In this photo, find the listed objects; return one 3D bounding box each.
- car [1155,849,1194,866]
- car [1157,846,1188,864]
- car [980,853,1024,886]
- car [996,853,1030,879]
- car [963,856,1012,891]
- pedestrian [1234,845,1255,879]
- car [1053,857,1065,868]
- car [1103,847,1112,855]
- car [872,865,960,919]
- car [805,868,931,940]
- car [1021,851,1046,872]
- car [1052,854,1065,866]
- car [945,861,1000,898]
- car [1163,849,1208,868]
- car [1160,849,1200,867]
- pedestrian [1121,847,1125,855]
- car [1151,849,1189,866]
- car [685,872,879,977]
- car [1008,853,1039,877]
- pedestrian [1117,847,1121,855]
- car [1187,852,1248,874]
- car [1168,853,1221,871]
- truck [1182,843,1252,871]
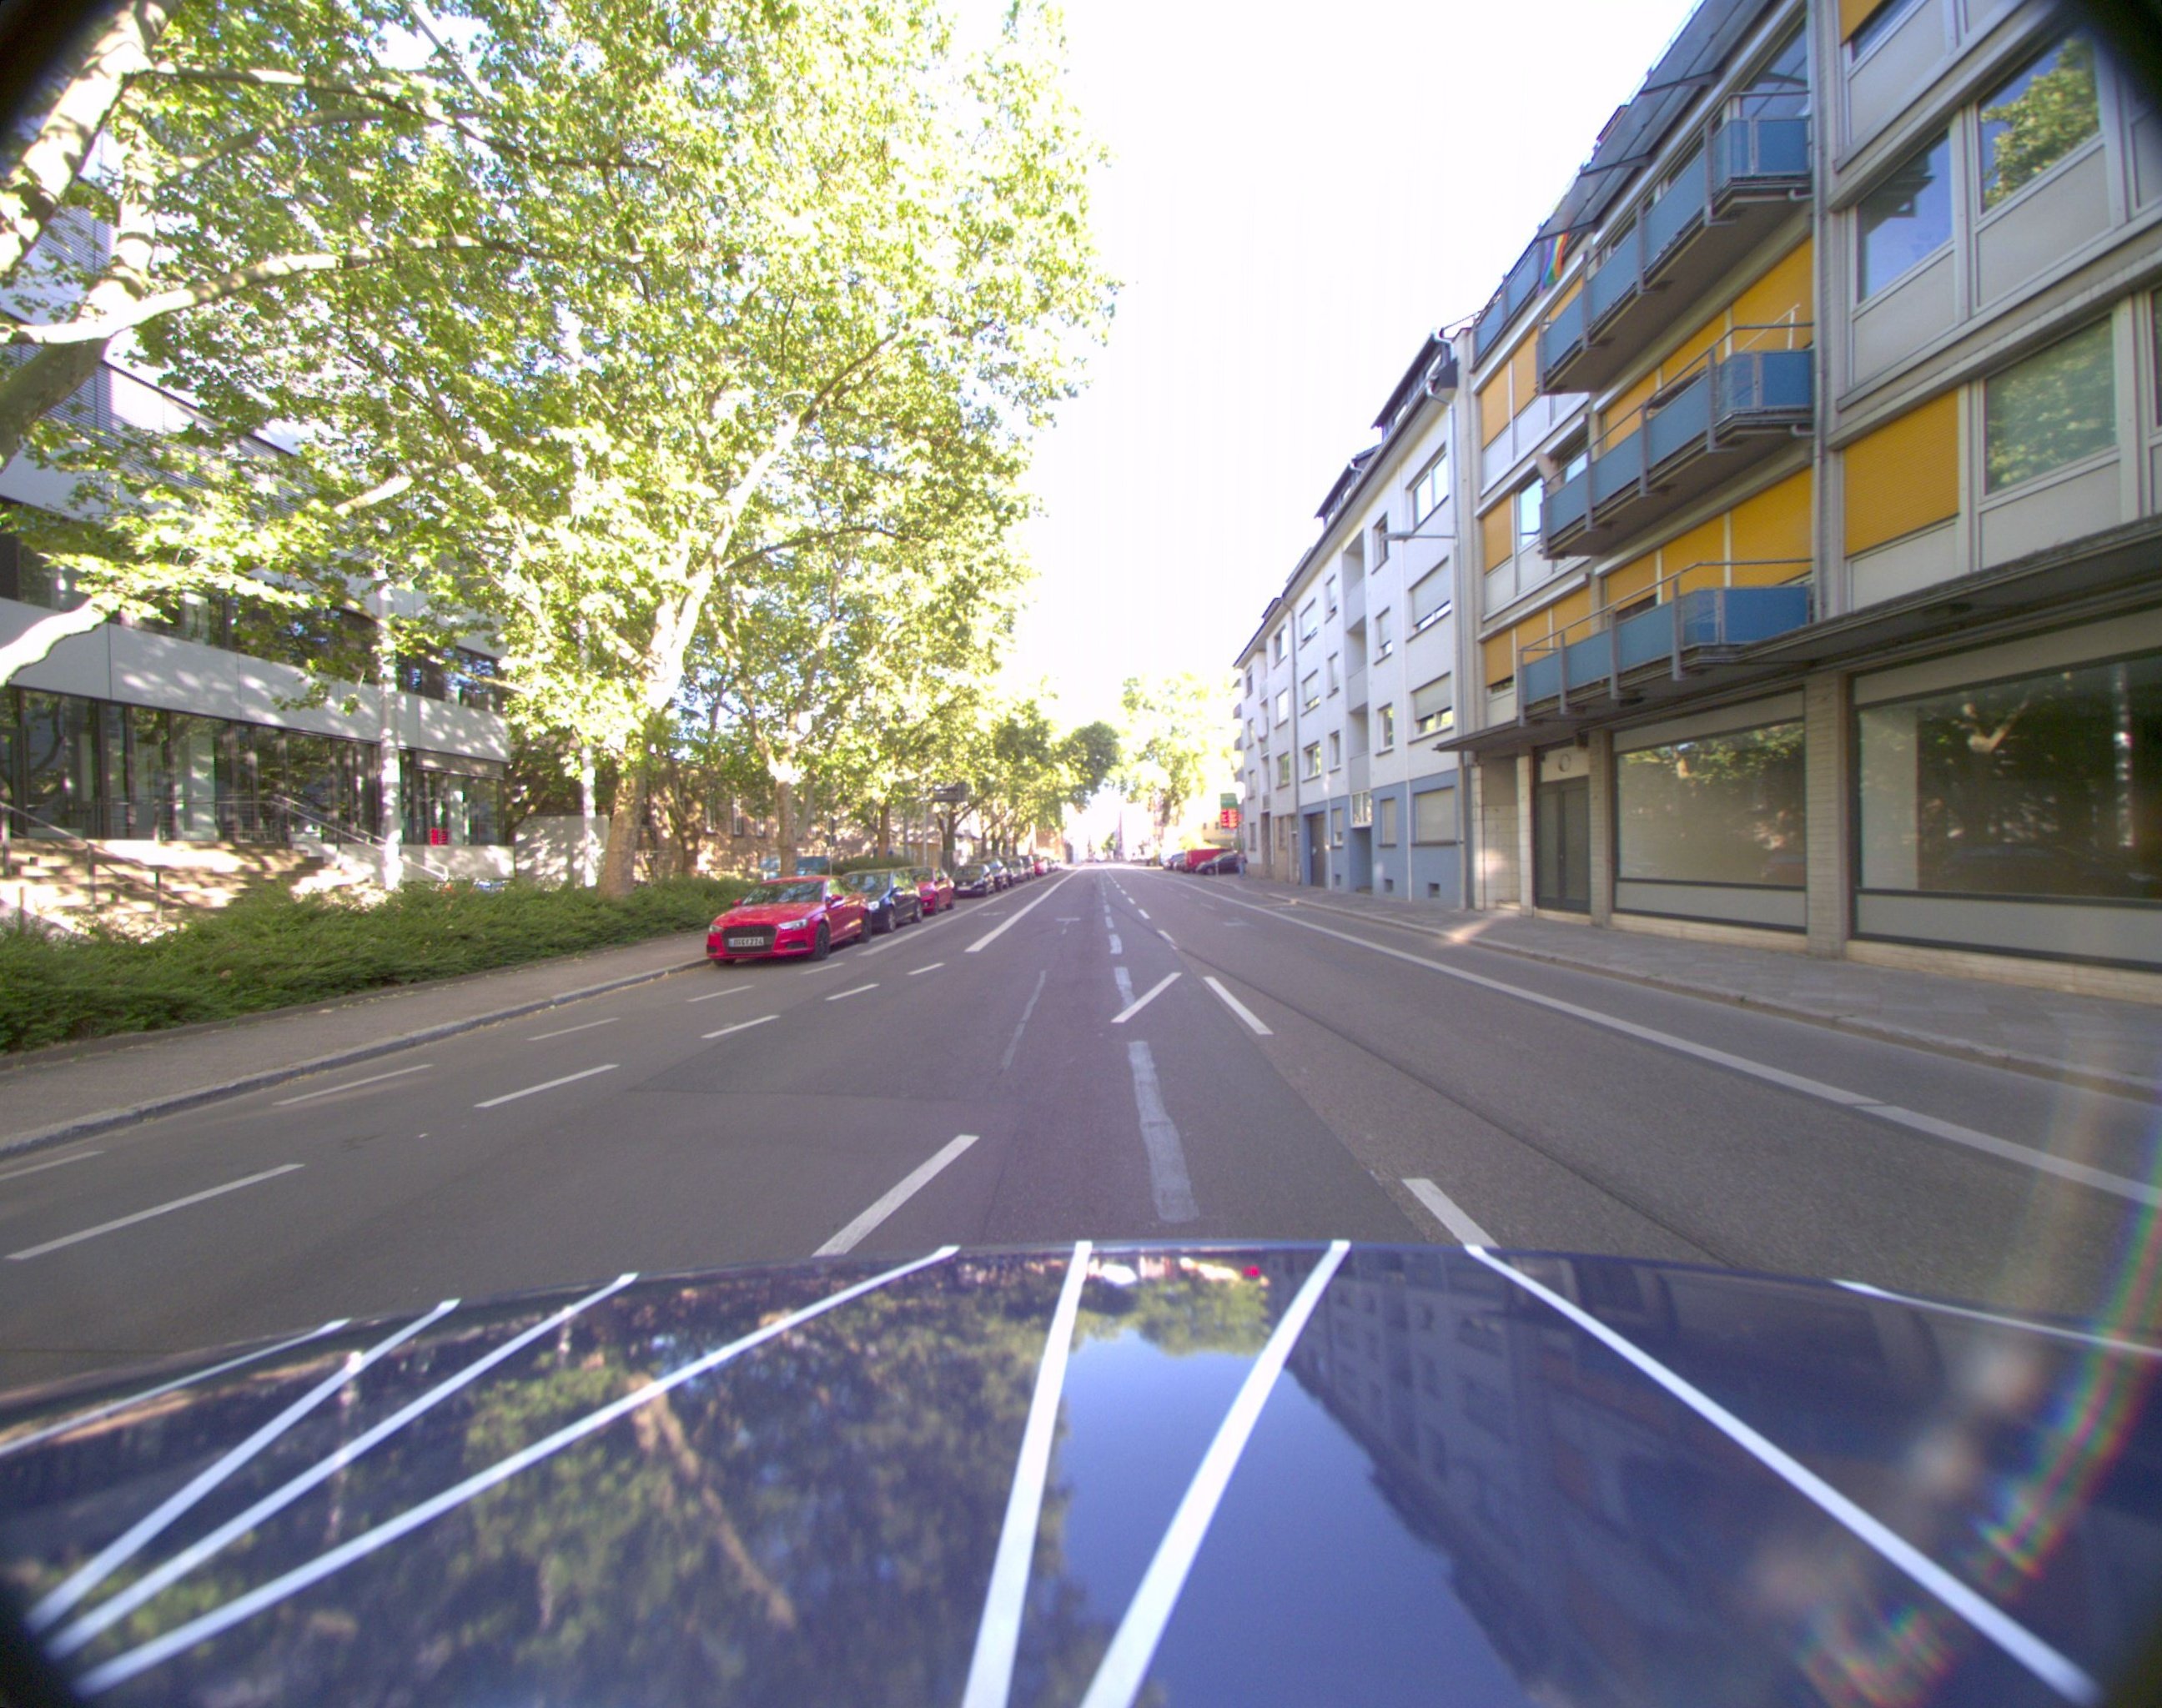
[{"bbox_3d":[9.614,0.379,78.577,3.703,1.573,1.718,-2,1,-5],"label":"car"},{"bbox_3d":[10.229,0.109,85.275,3.267,1.927,1.693,-2,1,2],"label":"car"},{"bbox_3d":[-4.545,0.871,44.201,1.998,1.715,4.262,-2,1,1],"label":"car"},{"bbox_3d":[-4.441,0.742,50.462,1.798,1.608,4.075,-1,0,1],"label":"car"},{"bbox_3d":[-4.622,0.924,38.218,1.848,1.572,4.232,-2,0,1],"label":"car"},{"bbox_3d":[8.808,0.410,40.890,0.896,1.761,0.741,-2,1,1],"label":"pedestrian"},{"bbox_3d":[-2.629,1.057,92.407,1.300,1.220,3.241,-1,1,0],"label":"car"},{"bbox_3d":[6.759,-0.795,193.470,1.998,2.002,3.999,-2,1,1],"label":"car"},{"bbox_3d":[-5.041,1.102,23.696,1.790,1.429,4.000,-1,0,1],"label":"car"},{"bbox_3d":[-5.040,1.136,18.575,1.813,1.449,4.000,-1,0,2],"label":"car"},{"bbox_3d":[-4.108,0.618,66.188,1.876,1.685,4.166,-1,0,1],"label":"car"},{"bbox_3d":[-3.000,0.821,102.727,1.707,1.459,3.809,-1,0,0],"label":"car"},{"bbox_3d":[-4.676,1.085,33.272,1.745,1.430,4.000,-1,0,1],"label":"car"},{"bbox_3d":[10.081,0.403,73.372,3.998,1.618,1.702,-2,1,-5],"label":"car"},{"bbox_3d":[9.878,0.383,75.919,3.658,1.578,1.659,-2,1,-5],"label":"car"},{"bbox_3d":[10.943,-0.858,198.378,0.535,2.002,0.769,-1,2,42],"label":"pedestrian"},{"bbox_3d":[9.484,0.375,80.869,3.728,1.579,1.743,-2,1,-5],"label":"car"},{"bbox_3d":[-5.118,1.123,13.689,1.775,1.416,4.173,-3,0,0],"label":"car"},{"bbox_3d":[-4.169,0.753,55.518,1.831,1.608,4.177,-1,0,1],"label":"car"},{"bbox_3d":[10.066,-0.857,199.292,0.613,1.981,0.711,-1,2,42],"label":"pedestrian"},{"bbox_3d":[9.819,0.656,54.854,3.997,1.385,1.781,-2,1,-1],"label":"car"},{"bbox_3d":[9.367,0.657,62.824,4.033,1.265,1.906,-2,1,-1],"label":"car"},{"bbox_3d":[10.727,0.239,60.105,5.088,2.009,2.000,-2,1,0],"label":"truck"}]
